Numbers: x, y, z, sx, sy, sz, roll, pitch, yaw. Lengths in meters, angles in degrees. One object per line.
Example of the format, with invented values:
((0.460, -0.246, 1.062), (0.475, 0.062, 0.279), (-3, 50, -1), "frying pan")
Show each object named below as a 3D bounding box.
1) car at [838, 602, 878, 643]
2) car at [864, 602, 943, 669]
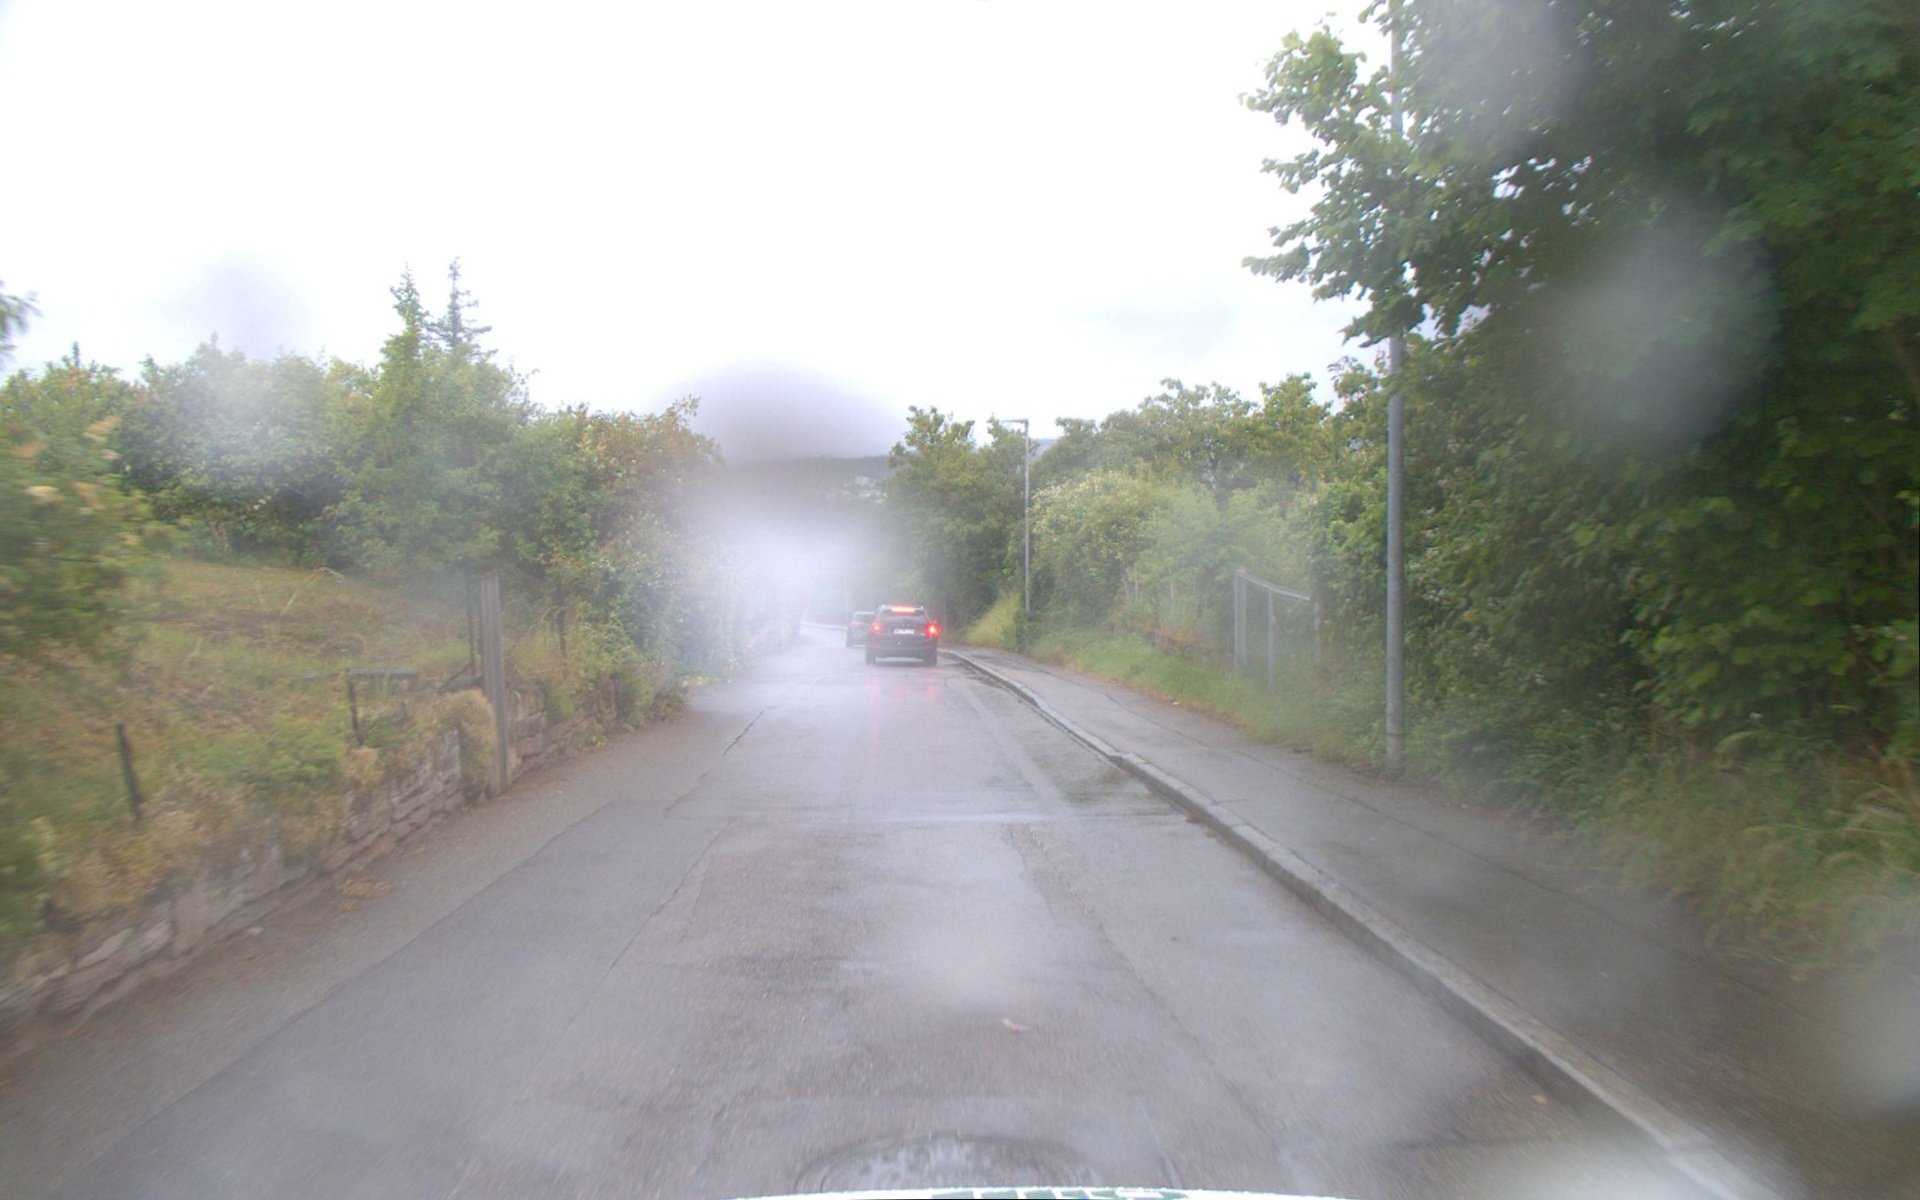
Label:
((-4.336, 0.927, 70.738), (1.644, 1.592, 3.792), (0, 2, -3), "car")
((-1.453, 0.849, 41.351), (1.799, 1.489, 3.997), (-1, 1, -4), "car")
